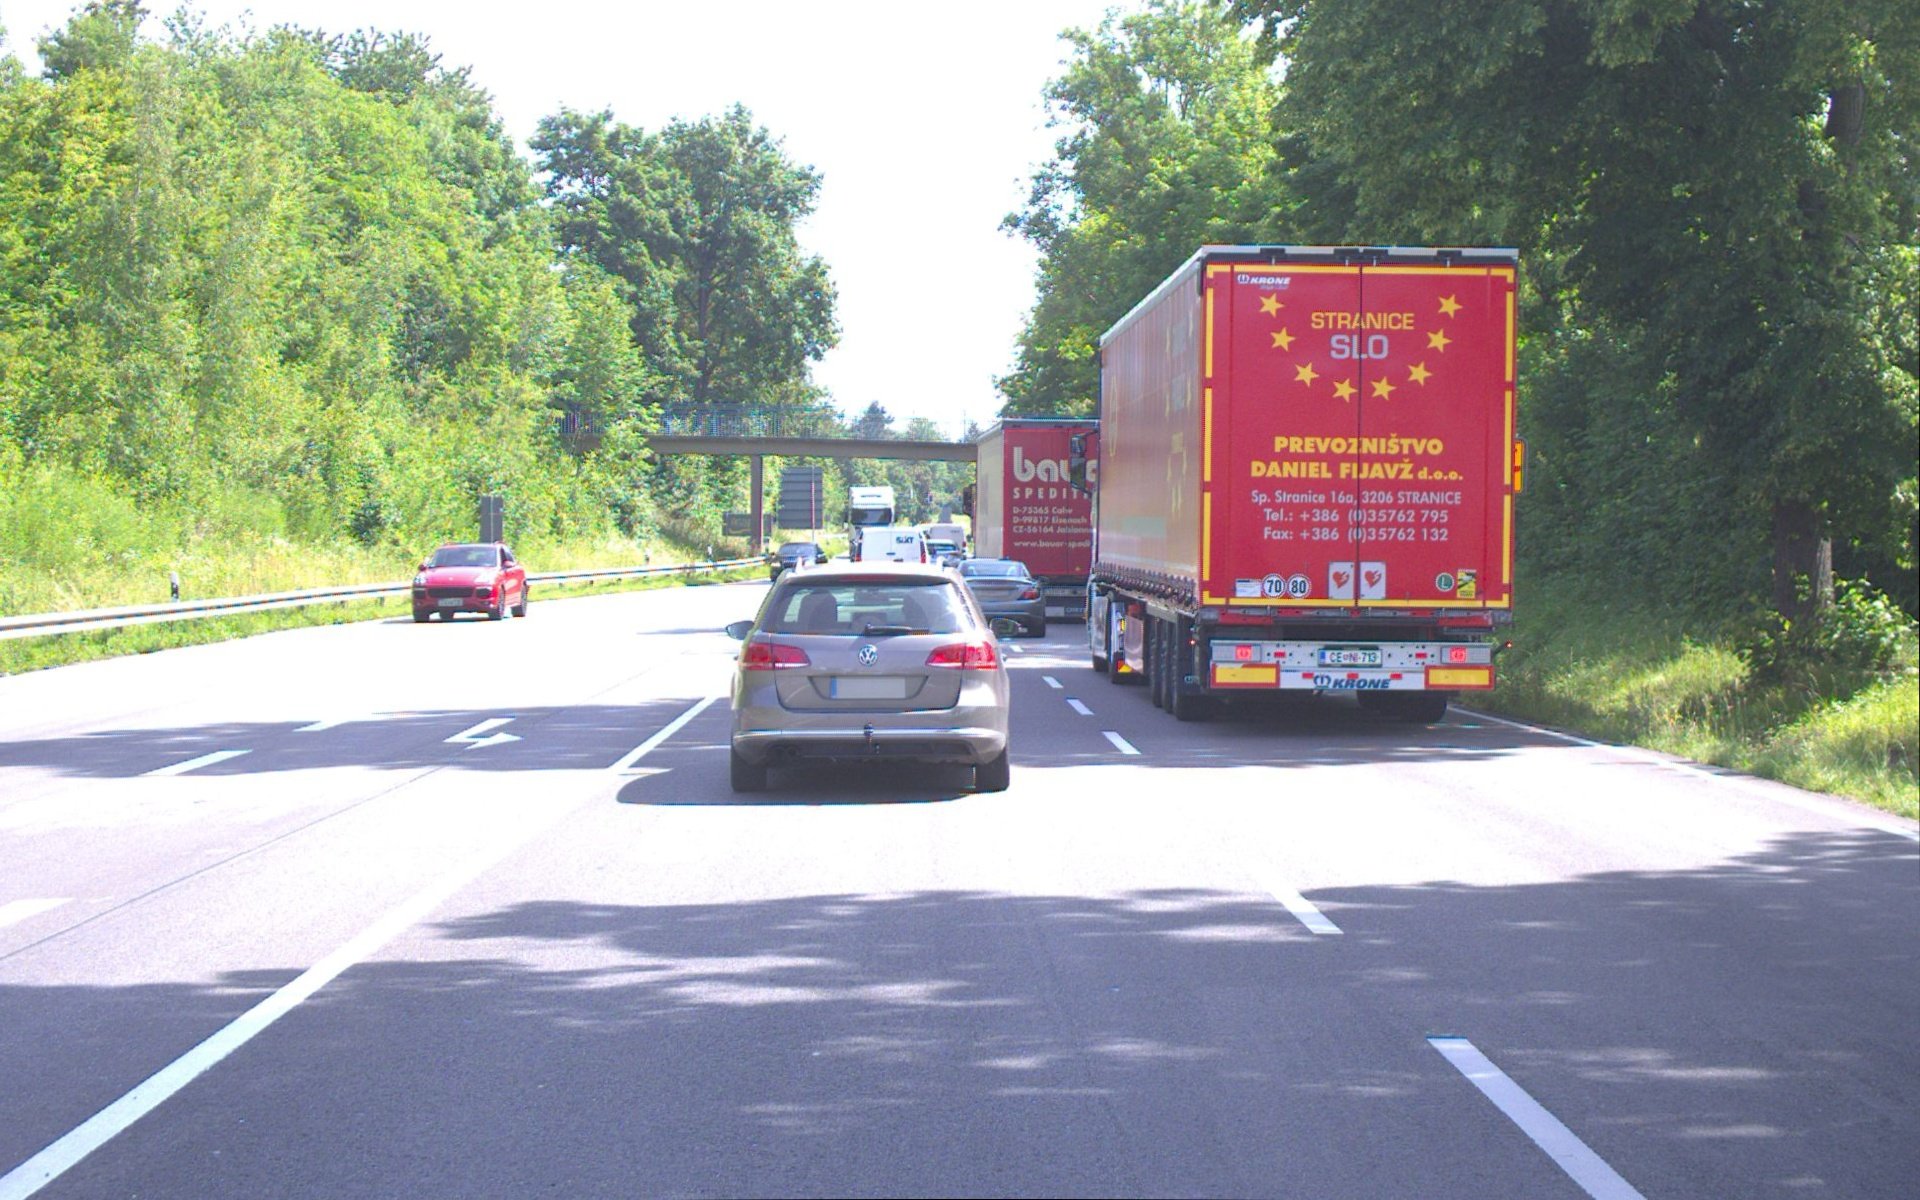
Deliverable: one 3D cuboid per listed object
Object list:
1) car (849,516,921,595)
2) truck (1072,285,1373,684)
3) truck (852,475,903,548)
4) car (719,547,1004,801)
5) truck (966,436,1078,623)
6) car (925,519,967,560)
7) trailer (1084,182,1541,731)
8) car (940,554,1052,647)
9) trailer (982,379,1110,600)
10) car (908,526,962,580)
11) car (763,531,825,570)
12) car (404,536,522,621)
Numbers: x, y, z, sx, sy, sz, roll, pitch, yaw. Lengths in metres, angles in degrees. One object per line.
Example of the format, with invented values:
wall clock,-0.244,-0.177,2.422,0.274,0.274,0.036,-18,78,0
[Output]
car,-1.910,-1.126,87.872,1.770,1.930,3.978,-1,0,-1
truck,2.934,-1.271,40.079,2.870,4.266,5.839,1,0,-1
truck,-4.701,-4.934,193.903,2.773,3.917,9.467,-1,0,-2
car,-0.636,0.430,22.758,1.691,1.508,4.000,-1,0,-1
truck,1.429,-1.601,79.266,2.406,4.113,5.521,-1,0,1
car,-0.718,-3.022,172.861,1.993,2.007,4.000,-1,0,-1
trailer,3.063,-1.211,34.132,2.839,4.350,13.168,1,0,-1
car,0.582,-0.005,58.977,1.770,1.508,4.000,-1,0,-1
trailer,1.785,-2.189,72.865,2.395,4.229,13.077,-1,0,1
car,-0.984,-1.811,132.378,1.993,2.007,4.000,-1,0,-1
car,-6.193,-1.841,128.819,1.963,1.410,4.000,-1,0,2
car,-10.957,-0.482,76.138,1.973,1.790,4.809,-1,0,-1
